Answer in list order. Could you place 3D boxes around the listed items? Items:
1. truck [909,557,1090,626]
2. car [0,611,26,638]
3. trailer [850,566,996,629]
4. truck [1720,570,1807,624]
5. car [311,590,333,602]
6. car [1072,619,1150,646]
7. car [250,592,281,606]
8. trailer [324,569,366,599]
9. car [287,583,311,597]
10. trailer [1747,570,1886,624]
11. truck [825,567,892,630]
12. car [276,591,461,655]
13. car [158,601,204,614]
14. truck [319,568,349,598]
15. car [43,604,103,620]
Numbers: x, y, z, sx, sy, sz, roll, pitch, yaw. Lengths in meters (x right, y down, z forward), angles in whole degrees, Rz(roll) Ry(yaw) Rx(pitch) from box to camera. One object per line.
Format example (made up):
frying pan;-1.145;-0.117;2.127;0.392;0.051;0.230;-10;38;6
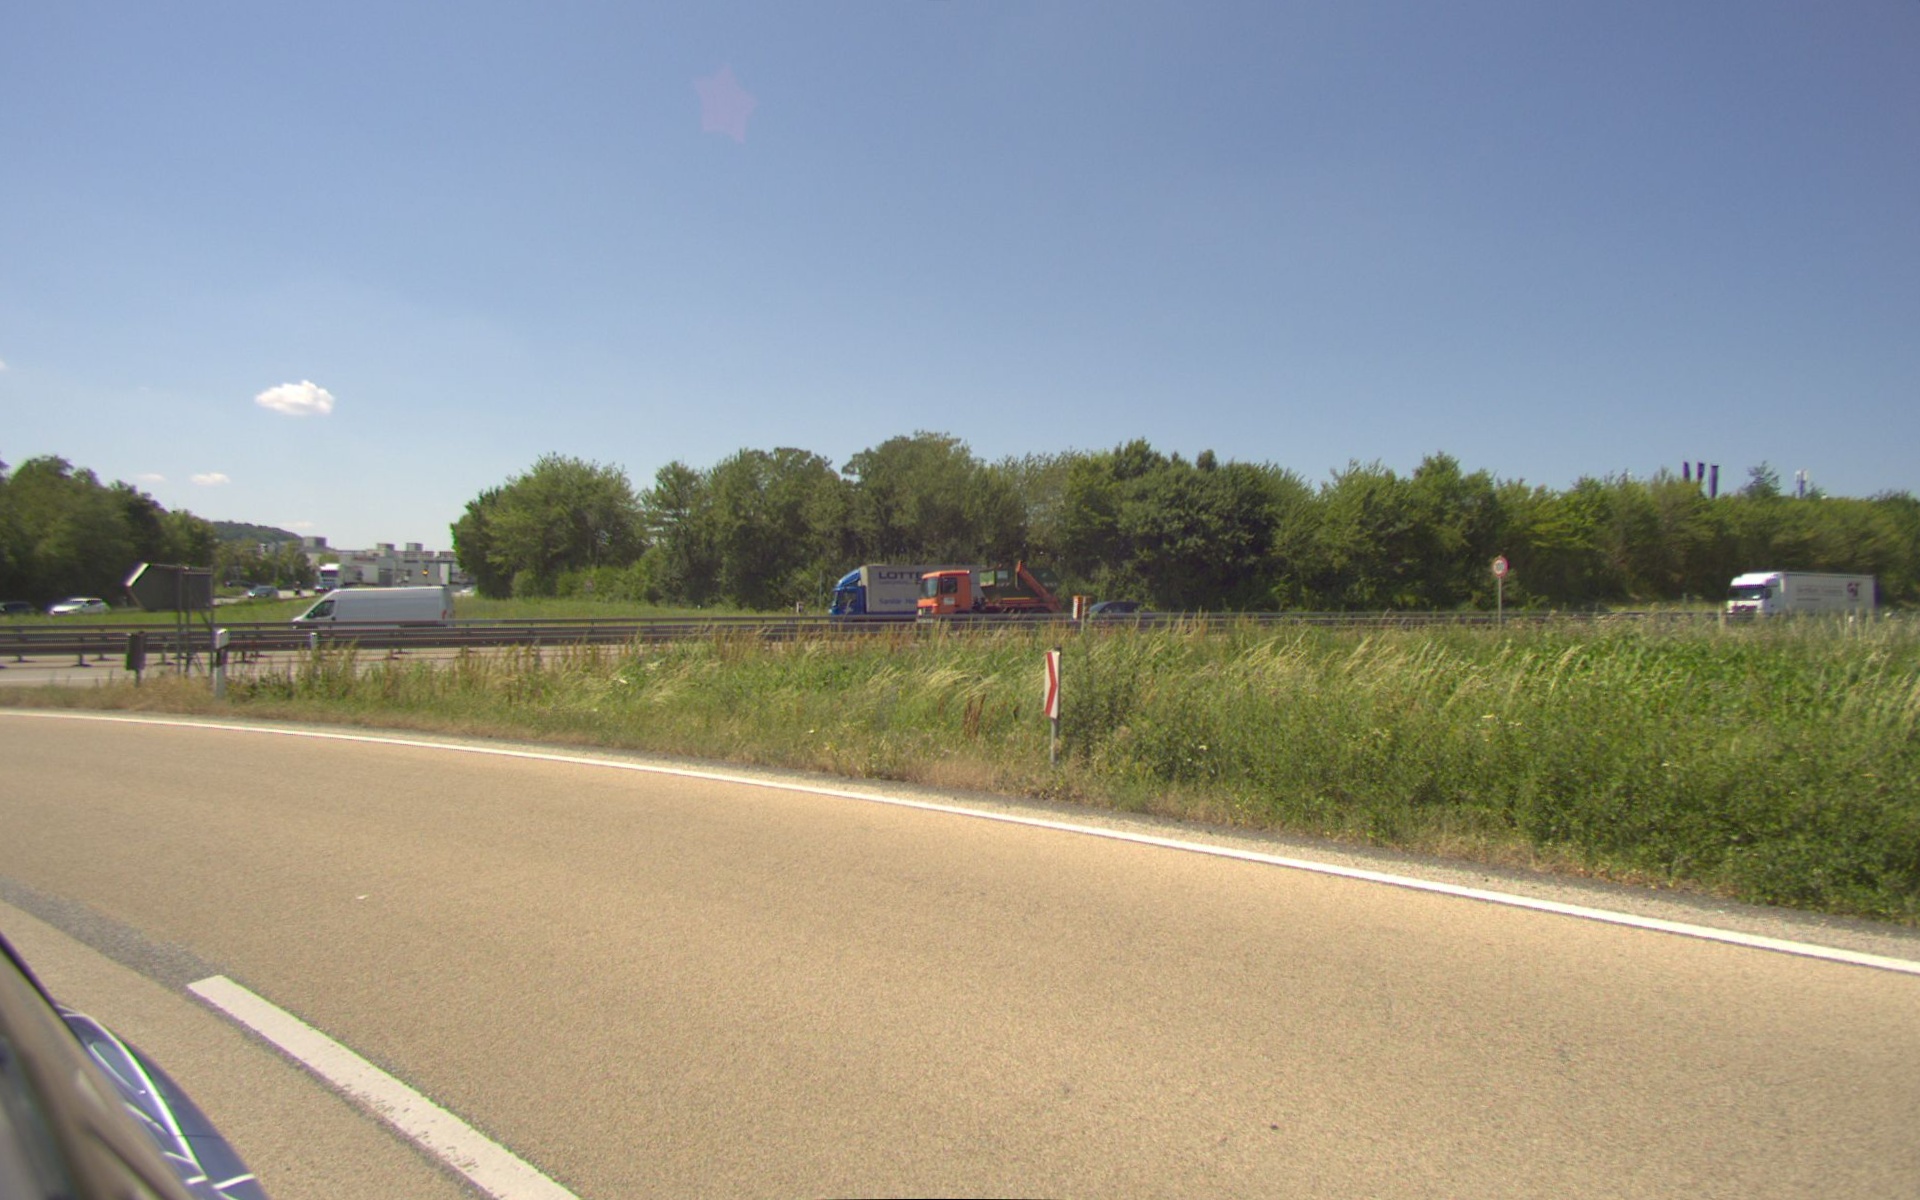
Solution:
truck;1.873;-0.370;47.516;8.063;3.085;2.611;0;-1;-19
car;-64.709;1.666;66.755;1.980;1.721;4.198;-1;1;14
trailer;-1.937;-0.140;51.925;7.101;3.032;2.311;-1;-1;-13
truck;60.567;-0.188;76.280;5.324;3.970;2.931;0;-1;-25
car;-81.967;-0.503;130.099;1.572;1.443;3.581;-1;-1;-19
car;6.722;1.431;45.081;3.190;1.157;1.236;0;-1;-19
car;-75.466;-0.058;109.974;1.573;1.443;3.760;-1;-1;-14
trailer;-92.002;-2.349;151.600;2.776;4.190;12.292;-1;1;-19
car;-79.615;-1.196;121.866;1.572;1.443;3.581;-1;-1;-19
trailer;67.183;-0.219;79.302;13.045;3.970;2.931;0;-1;-25
truck;-5.141;-0.071;51.149;3.025;3.032;2.322;-1;-1;-13
car;-25.503;0.921;43.947;6.582;2.557;2.171;-1;0;-18
car;-70.683;0.705;91.875;1.508;1.175;4.083;-1;0;-8
truck;-89.797;-2.406;145.238;2.783;4.190;4.013;-1;0;-19
car;-68.797;0.933;78.524;1.509;1.175;3.879;-1;0;-5
